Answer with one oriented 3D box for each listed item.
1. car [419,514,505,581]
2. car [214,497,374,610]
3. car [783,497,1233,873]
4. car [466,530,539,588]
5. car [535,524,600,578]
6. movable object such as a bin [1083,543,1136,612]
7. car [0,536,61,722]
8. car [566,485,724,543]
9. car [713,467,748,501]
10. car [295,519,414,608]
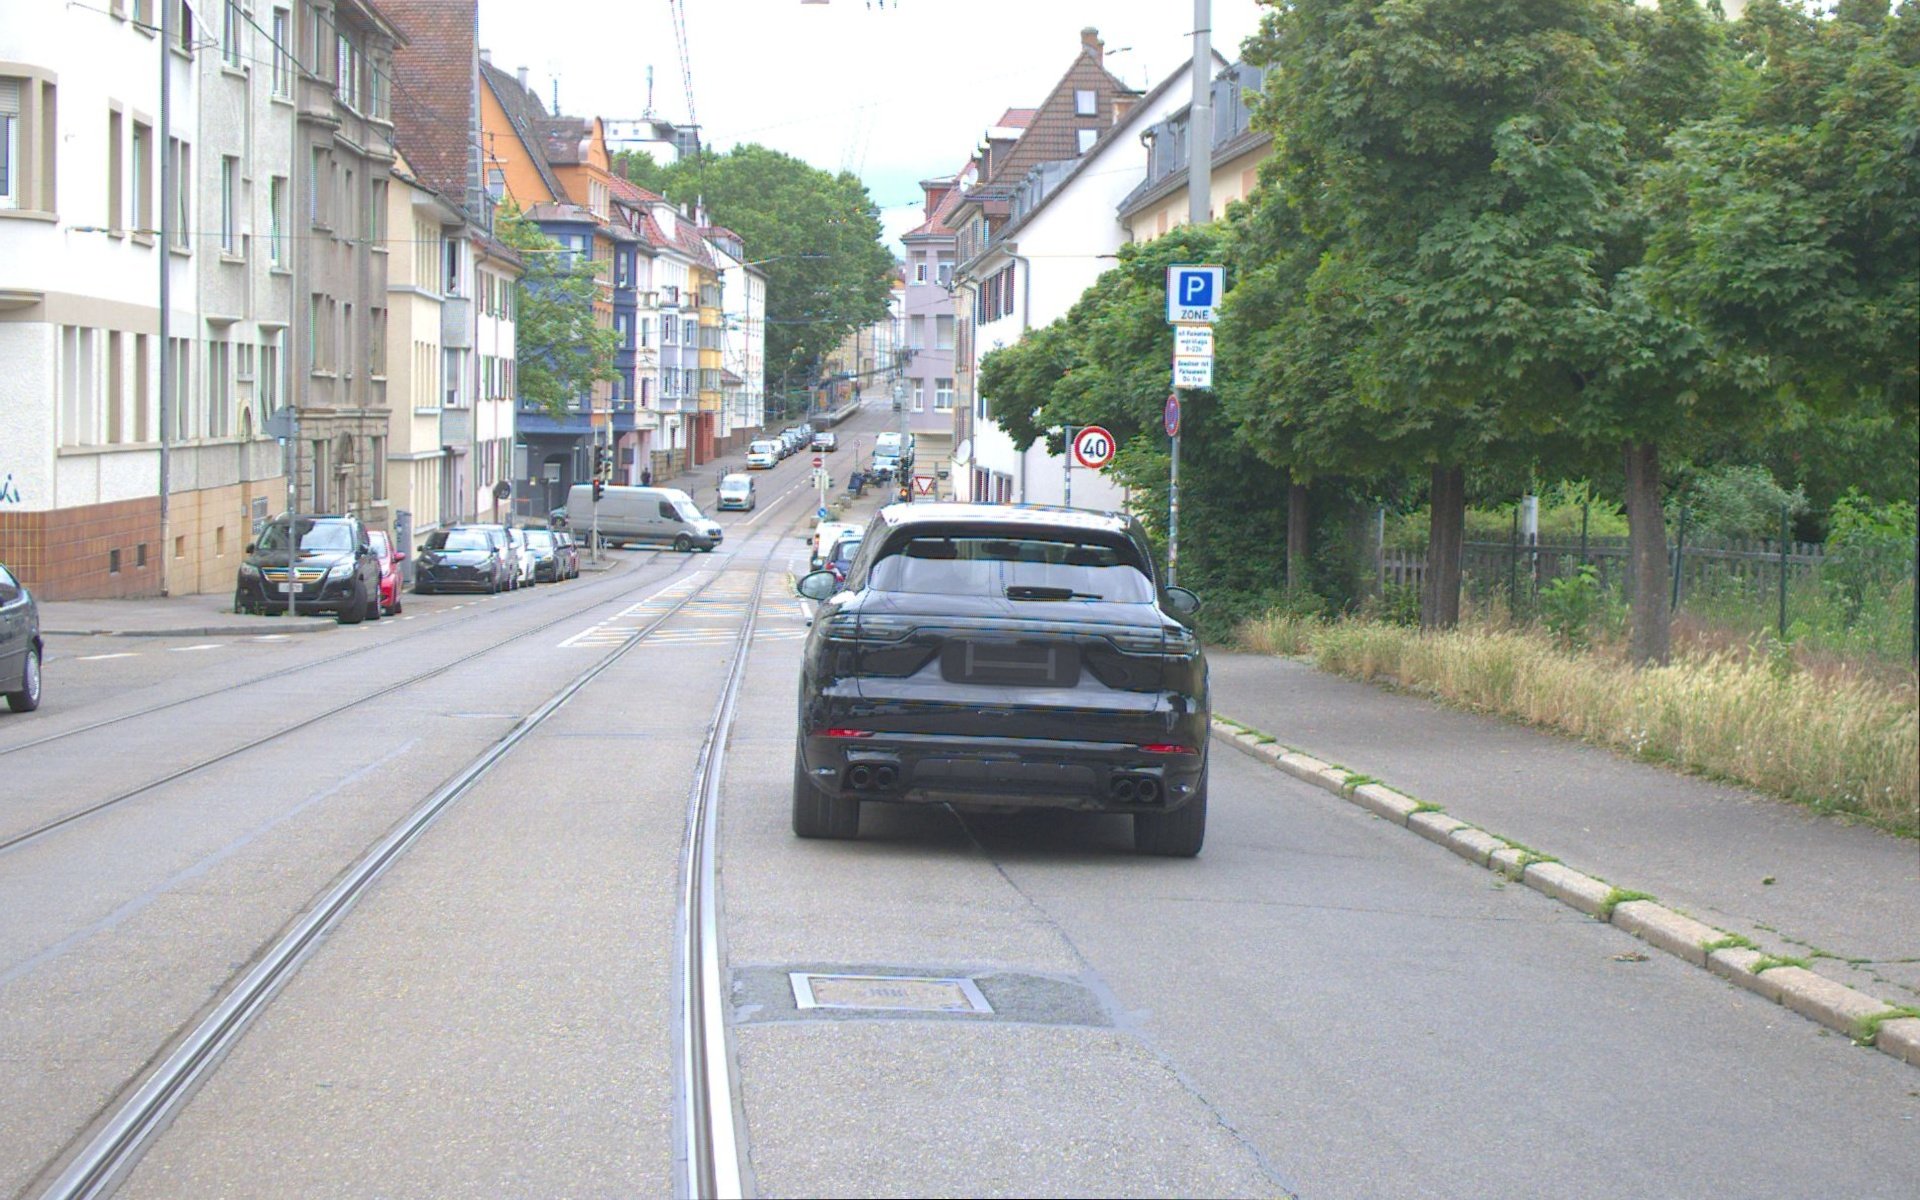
[{"bbox_3d":[-11.150,-1.151,77.096,1.620,1.458,4.033,0,0,-4],"label":"car"},{"bbox_3d":[-10.104,-0.692,52.414,1.867,1.640,4.403,0,0,-4],"label":"car"},{"bbox_3d":[0.119,0.356,17.564,1.993,1.670,4.001,1,1,-3],"label":"car"},{"bbox_3d":[-11.706,-1.039,88.140,1.620,1.458,3.685,0,0,-4],"label":"car"},{"bbox_3d":[-10.999,-1.365,96.469,1.620,1.468,4.556,0,0,-4],"label":"car"},{"bbox_3d":[2.668,-0.409,61.409,0.792,1.214,0.789,1,1,-6],"label":"movable object such as a bin"},{"bbox_3d":[-8.437,0.221,27.599,1.620,1.472,4.157,0,0,-4],"label":"car"},{"bbox_3d":[-13.100,-3.576,142.842,6.289,2.282,2.199,2,1,25],"label":"car"},{"bbox_3d":[-12.350,-6.243,185.233,1.751,1.753,4.254,1,1,-2],"label":"car"},{"bbox_3d":[-10.262,-0.606,58.462,1.620,1.458,3.746,0,0,-4],"label":"car"}]
